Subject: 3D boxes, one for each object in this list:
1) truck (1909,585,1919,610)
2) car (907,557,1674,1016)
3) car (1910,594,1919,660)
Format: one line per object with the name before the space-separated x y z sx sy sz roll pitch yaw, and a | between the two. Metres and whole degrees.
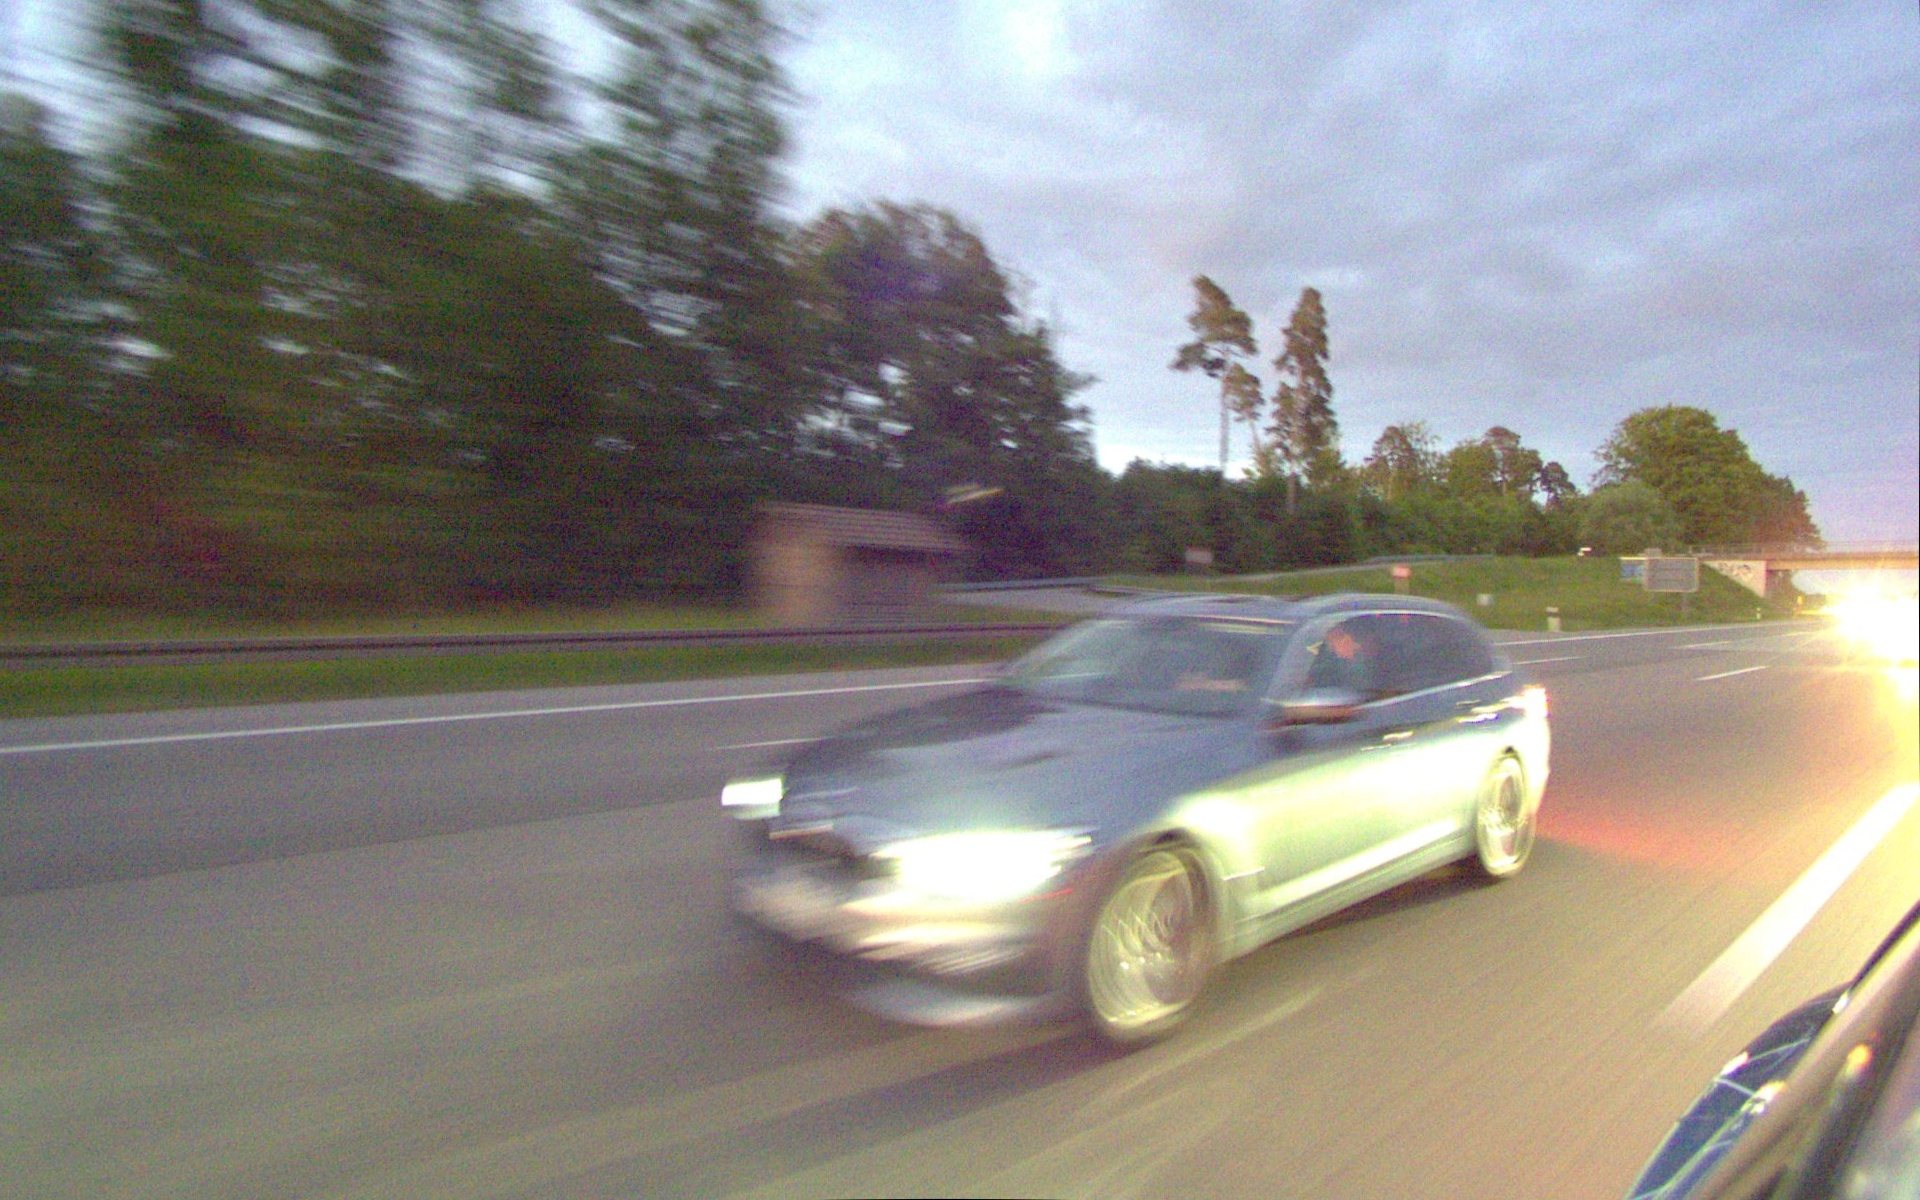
truck | 164.844 -0.411 173.135 3.134 4.062 10.388 1 0 40
car | 2.303 0.665 5.876 5.140 1.556 1.912 2 0 -42
car | 24.129 0.603 24.080 5.044 1.484 1.812 -1 1 -42
